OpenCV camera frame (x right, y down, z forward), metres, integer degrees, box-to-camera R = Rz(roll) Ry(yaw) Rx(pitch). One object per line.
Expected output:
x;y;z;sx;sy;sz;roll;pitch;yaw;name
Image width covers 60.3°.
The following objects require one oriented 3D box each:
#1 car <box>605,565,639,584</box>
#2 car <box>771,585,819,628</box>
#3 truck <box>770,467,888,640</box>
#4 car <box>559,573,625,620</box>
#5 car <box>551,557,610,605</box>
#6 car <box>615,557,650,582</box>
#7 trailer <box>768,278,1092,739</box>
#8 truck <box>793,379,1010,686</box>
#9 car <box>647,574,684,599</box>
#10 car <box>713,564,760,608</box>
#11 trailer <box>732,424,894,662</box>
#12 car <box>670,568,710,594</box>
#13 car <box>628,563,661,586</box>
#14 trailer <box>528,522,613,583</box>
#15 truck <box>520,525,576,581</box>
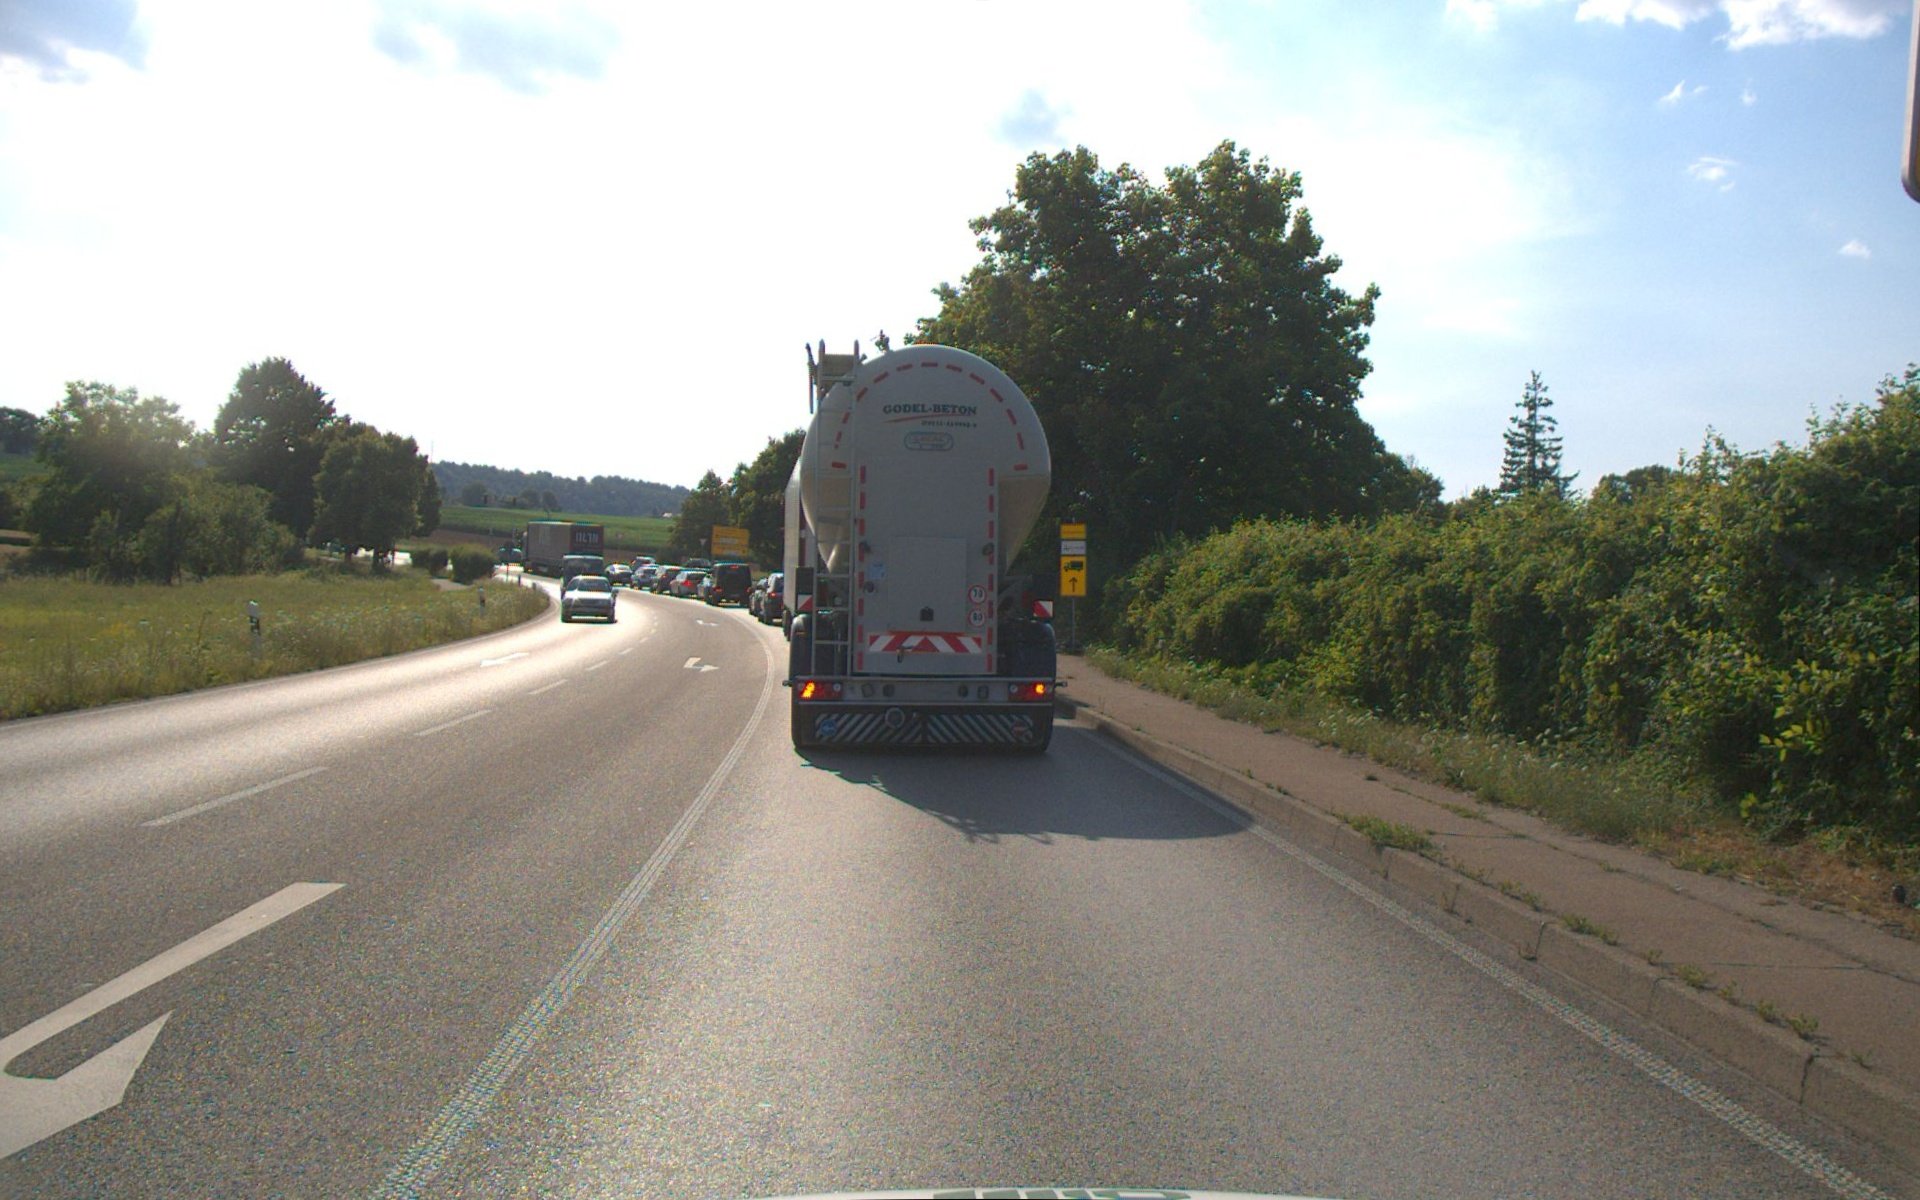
-23.131;-1.763;113.170;1.744;1.227;3.405;2;0;-21;car
-5.667;0.193;56.611;1.550;1.364;3.421;2;0;-7;car
-3.520;-1.223;45.379;2.893;4.378;4.928;2;0;-3;truck
-12.084;-0.117;54.523;1.674;1.453;4.172;2;0;-7;car
-17.998;-0.904;78.286;1.970;2.174;4.747;1;0;-22;car
-27.859;-2.610;140.583;1.970;2.048;3.966;1;2;-27;car
-0.606;-0.847;19.808;2.852;4.076;9.922;1;0;-4;trailer
-0.923;-0.917;24.307;2.852;4.076;4.056;1;0;-4;truck
-17.640;-0.806;99.029;1.557;1.364;3.405;2;0;-20;car
-10.705;-0.675;78.984;1.830;2.049;3.706;1;1;-14;car
-3.167;-1.152;38.535;2.896;4.390;14.167;2;0;-3;trailer
-15.243;-1.077;93.141;1.557;1.364;3.405;2;0;-20;car
-20.405;-1.654;106.887;1.557;1.364;3.405;2;0;-20;car
-30.843;-3.730;130.389;3.334;4.426;14.175;2;1;-26;trailer
-34.268;-3.920;137.458;3.335;4.426;5.658;2;0;-26;truck
